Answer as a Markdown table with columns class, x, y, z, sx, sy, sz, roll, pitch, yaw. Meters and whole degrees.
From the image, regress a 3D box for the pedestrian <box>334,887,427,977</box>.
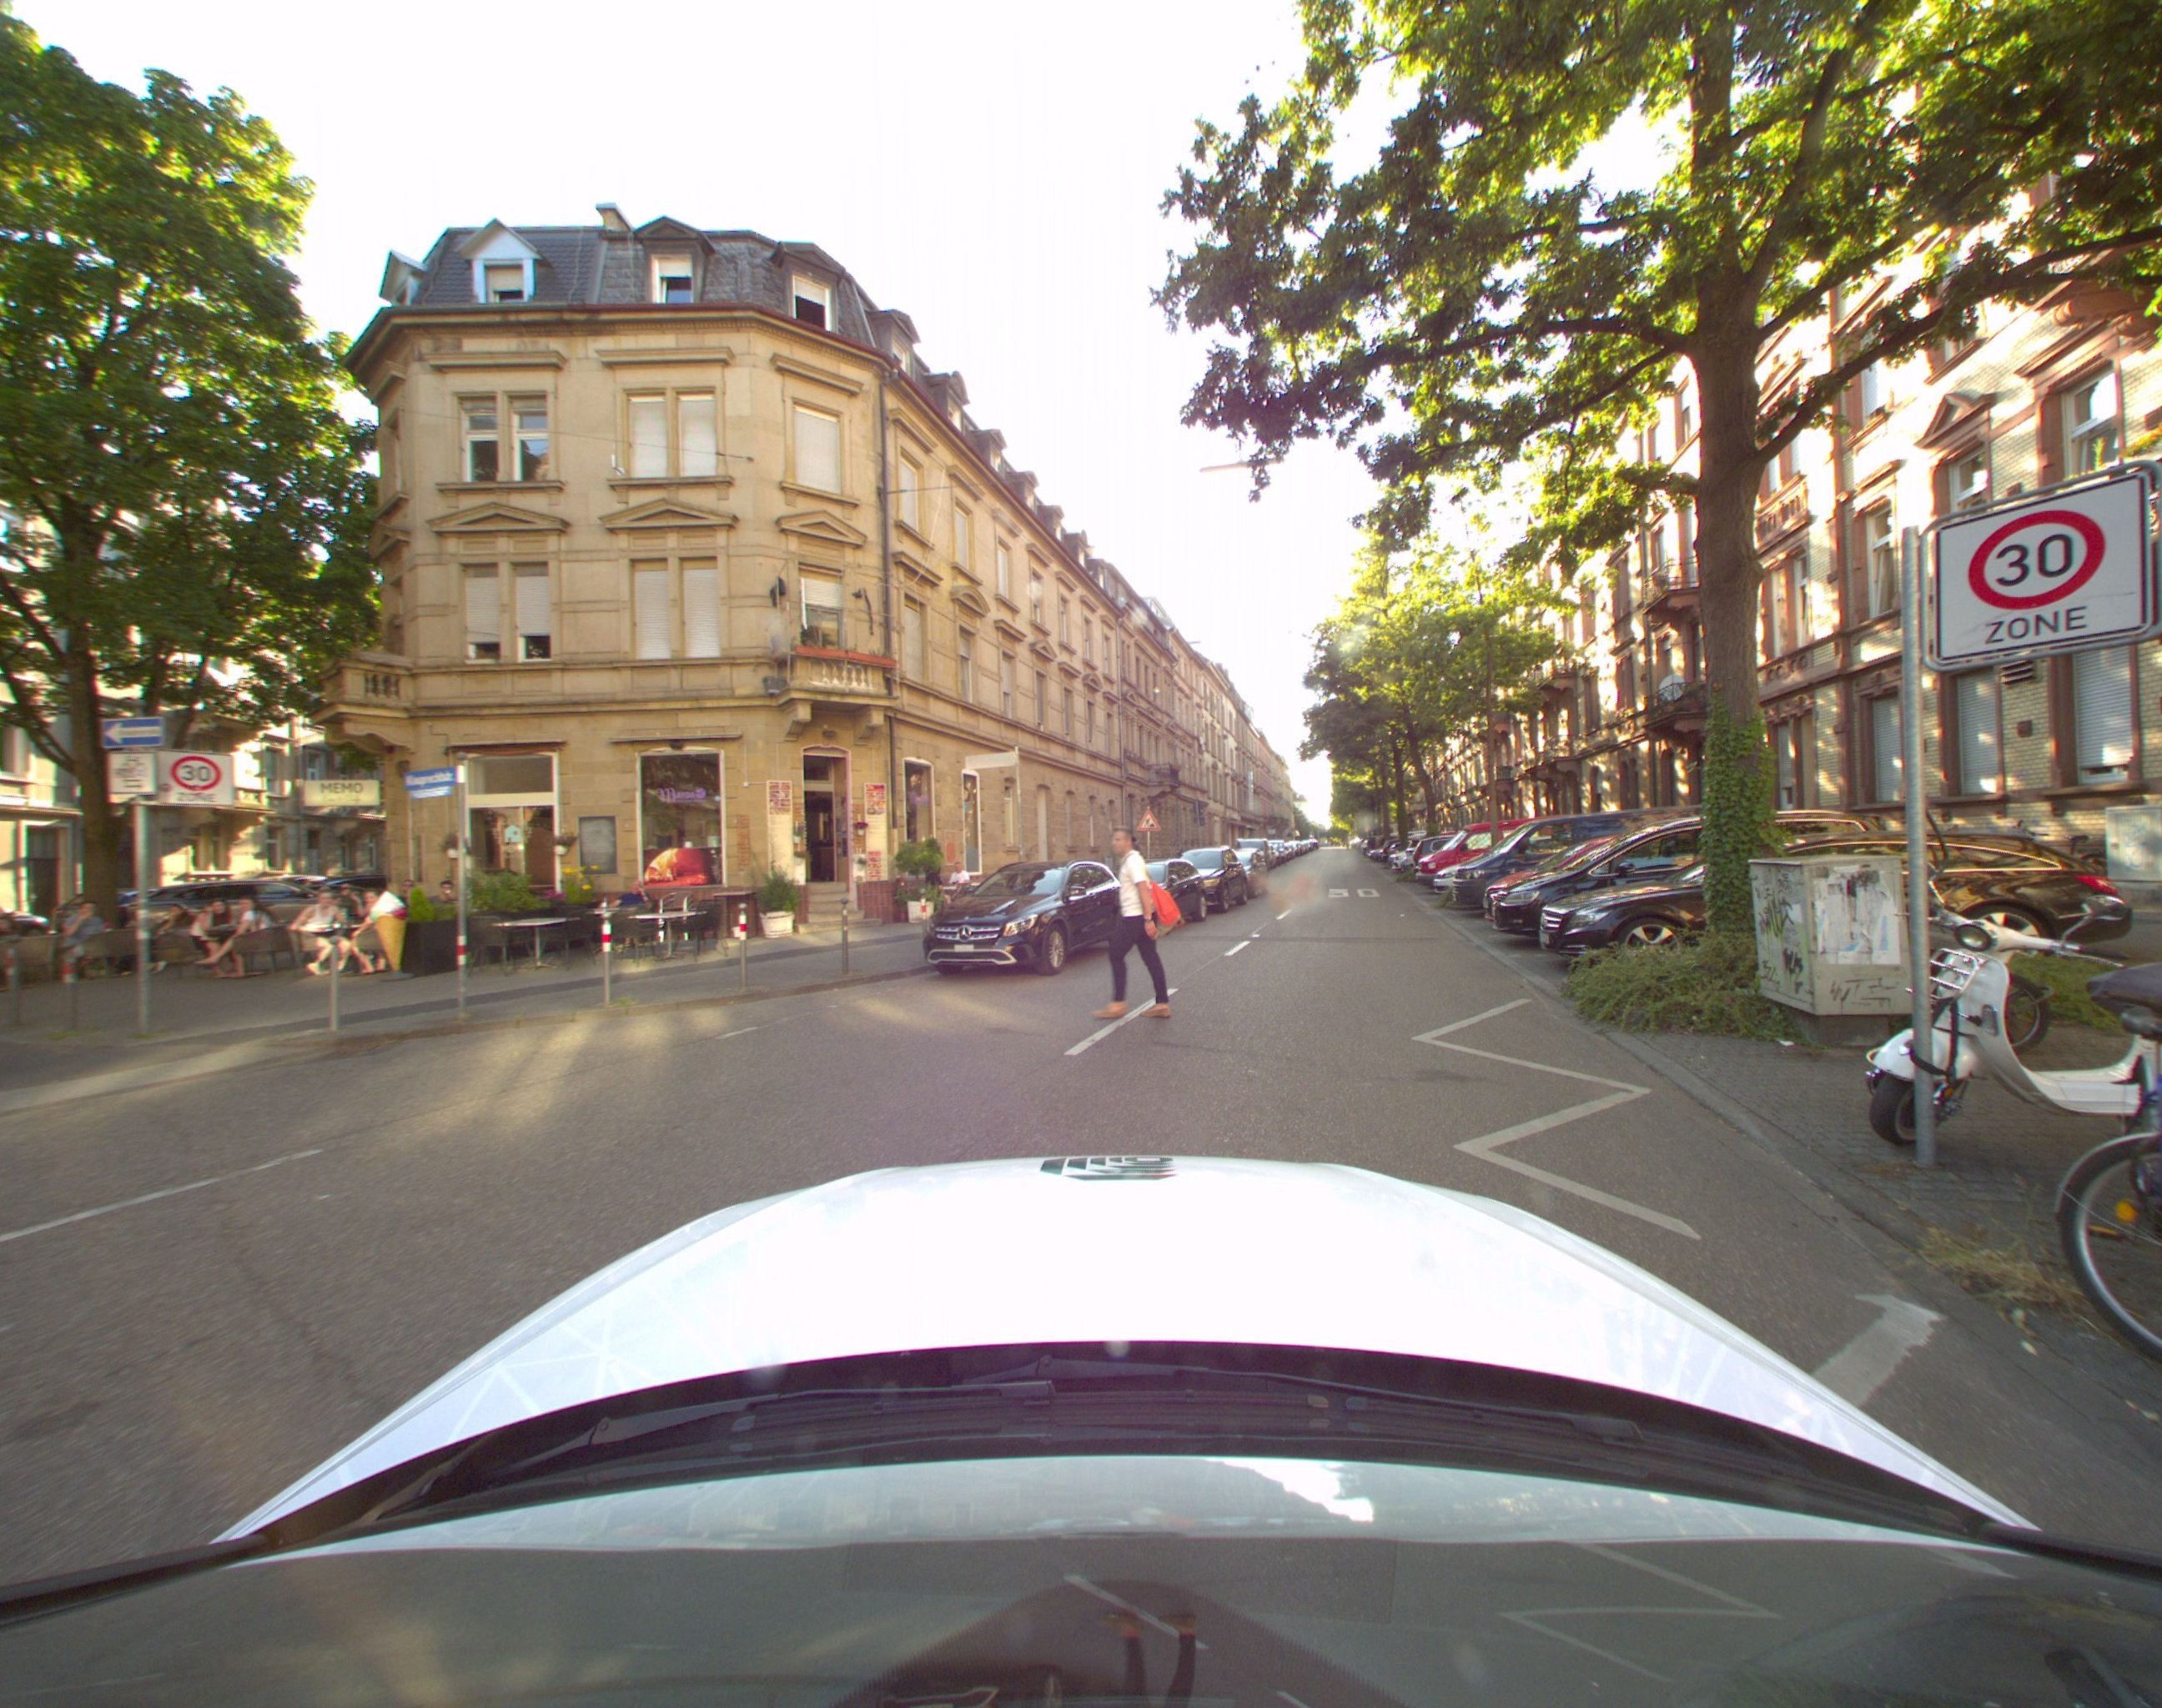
| class | x | y | z | sx | sy | sz | roll | pitch | yaw |
| --- | --- | --- | --- | --- | --- | --- | --- | --- | --- |
| pedestrian | -10.728 | 1.186 | 12.494 | 0.739 | 1.289 | 0.744 | -2 | 0 | 8 |

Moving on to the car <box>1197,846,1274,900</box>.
| class | x | y | z | sx | sy | sz | roll | pitch | yaw |
| --- | --- | --- | --- | --- | --- | --- | --- | --- | --- |
| car | 5.149 | 0.572 | 26.737 | 1.743 | 1.501 | 4.081 | -3 | 0 | 21 |

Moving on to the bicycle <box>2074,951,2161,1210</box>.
| class | x | y | z | sx | sy | sz | roll | pitch | yaw |
| --- | --- | --- | --- | --- | --- | --- | --- | --- | --- |
| bicycle | 4.948 | 0.790 | 2.866 | 1.915 | 0.927 | 0.356 | -5 | -2 | 17 |

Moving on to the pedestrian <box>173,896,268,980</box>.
| class | x | y | z | sx | sy | sz | roll | pitch | yaw |
| --- | --- | --- | --- | --- | --- | --- | --- | --- | --- |
| pedestrian | -13.670 | 1.320 | 12.945 | 0.699 | 1.248 | 0.752 | -2 | 0 | 15 |

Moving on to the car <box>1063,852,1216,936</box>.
| class | x | y | z | sx | sy | sz | roll | pitch | yaw |
| --- | --- | --- | --- | --- | --- | --- | --- | --- | --- |
| car | 1.393 | 0.756 | 17.135 | 1.743 | 1.451 | 4.575 | -3 | -1 | 23 |

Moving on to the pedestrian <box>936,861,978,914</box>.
| class | x | y | z | sx | sy | sz | roll | pitch | yaw |
| --- | --- | --- | --- | --- | --- | --- | --- | --- | --- |
| pedestrian | -2.989 | 0.801 | 19.704 | 0.720 | 1.214 | 0.760 | -2 | 0 | 15 |

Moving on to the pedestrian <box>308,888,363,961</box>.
| class | x | y | z | sx | sy | sz | roll | pitch | yaw |
| --- | --- | --- | --- | --- | --- | --- | --- | --- | --- |
| pedestrian | -13.430 | 1.266 | 14.684 | 0.477 | 1.248 | 0.512 | -2 | 0 | 15 |

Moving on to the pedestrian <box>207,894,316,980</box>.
| class | x | y | z | sx | sy | sz | roll | pitch | yaw |
| --- | --- | --- | --- | --- | --- | --- | --- | --- | --- |
| pedestrian | -12.796 | 1.280 | 12.729 | 1.014 | 1.248 | 0.752 | -2 | 0 | 15 |

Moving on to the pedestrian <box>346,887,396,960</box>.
| class | x | y | z | sx | sy | sz | roll | pitch | yaw |
| --- | --- | --- | --- | --- | --- | --- | --- | --- | --- |
| pedestrian | -12.631 | 1.233 | 14.485 | 0.477 | 1.248 | 0.435 | -2 | 0 | 15 |

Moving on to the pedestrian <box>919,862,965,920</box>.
| class | x | y | z | sx | sy | sz | roll | pitch | yaw |
| --- | --- | --- | --- | --- | --- | --- | --- | --- | --- |
| pedestrian | -3.157 | 0.838 | 18.543 | 0.720 | 1.259 | 0.760 | -2 | 0 | 15 |

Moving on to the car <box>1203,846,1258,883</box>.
| class | x | y | z | sx | sy | sz | roll | pitch | yaw |
| --- | --- | --- | --- | --- | --- | --- | --- | --- | --- |
| car | 6.938 | 0.463 | 37.558 | 1.744 | 1.501 | 4.080 | -3 | 0 | 20 |

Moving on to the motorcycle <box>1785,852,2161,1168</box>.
| class | x | y | z | sx | sy | sz | roll | pitch | yaw |
| --- | --- | --- | --- | --- | --- | --- | --- | --- | --- |
| motorcycle | 4.498 | 0.649 | 3.618 | 1.882 | 1.234 | 0.689 | -5 | -1 | 18 |

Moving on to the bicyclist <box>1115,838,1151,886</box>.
| class | x | y | z | sx | sy | sz | roll | pitch | yaw |
| --- | --- | --- | --- | --- | --- | --- | --- | --- | --- |
| bicyclist | 2.021 | 0.306 | 31.665 | 0.987 | 1.789 | 1.214 | -3 | 0 | 20 |

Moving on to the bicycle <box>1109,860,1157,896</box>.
| class | x | y | z | sx | sy | sz | roll | pitch | yaw |
| --- | --- | --- | --- | --- | --- | --- | --- | --- | --- |
| bicycle | 2.049 | 0.910 | 31.658 | 0.987 | 1.158 | 2.938 | -3 | 1 | 21 |

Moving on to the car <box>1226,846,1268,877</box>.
| class | x | y | z | sx | sy | sz | roll | pitch | yaw |
| --- | --- | --- | --- | --- | --- | --- | --- | --- | --- |
| car | 8.586 | 0.368 | 41.851 | 1.579 | 1.475 | 3.718 | 0 | 1 | 19 |

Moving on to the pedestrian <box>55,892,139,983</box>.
| class | x | y | z | sx | sy | sz | roll | pitch | yaw |
| --- | --- | --- | --- | --- | --- | --- | --- | --- | --- |
| pedestrian | -16.834 | 1.410 | 13.936 | 0.659 | 1.441 | 0.772 | -4 | 0 | 30 |

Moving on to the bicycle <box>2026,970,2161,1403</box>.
| class | x | y | z | sx | sy | sz | roll | pitch | yaw |
| --- | --- | --- | --- | --- | --- | --- | --- | --- | --- |
| bicycle | 3.341 | 0.934 | 2.571 | 1.421 | 0.927 | 0.350 | -3 | -2 | -43 |

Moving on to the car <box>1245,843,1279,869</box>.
| class | x | y | z | sx | sy | sz | roll | pitch | yaw |
| --- | --- | --- | --- | --- | --- | --- | --- | --- | --- |
| car | 11.780 | 0.080 | 52.954 | 1.739 | 1.608 | 4.404 | -1 | 1 | 18 |

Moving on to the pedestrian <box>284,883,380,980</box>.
| class | x | y | z | sx | sy | sz | roll | pitch | yaw |
| --- | --- | --- | --- | --- | --- | --- | --- | --- | --- |
| pedestrian | -11.554 | 1.178 | 12.582 | 0.750 | 1.411 | 0.729 | -2 | 0 | 6 |

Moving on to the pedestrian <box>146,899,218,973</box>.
| class | x | y | z | sx | sy | sz | roll | pitch | yaw |
| --- | --- | --- | --- | --- | --- | --- | --- | --- | --- |
| pedestrian | -15.934 | 1.439 | 14.440 | 0.659 | 1.215 | 0.682 | -4 | 0 | 28 |

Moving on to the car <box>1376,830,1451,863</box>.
| class | x | y | z | sx | sy | sz | roll | pitch | yaw |
| --- | --- | --- | --- | --- | --- | --- | --- | --- | --- |
| car | 21.377 | -0.497 | 52.507 | 4.188 | 1.776 | 1.843 | -4 | 0 | 16 |

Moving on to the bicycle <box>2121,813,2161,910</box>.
| class | x | y | z | sx | sy | sz | roll | pitch | yaw |
| --- | --- | --- | --- | --- | --- | --- | --- | --- | --- |
| bicycle | 13.209 | 0.089 | 9.072 | 0.665 | 1.171 | 2.606 | -5 | -1 | 20 |

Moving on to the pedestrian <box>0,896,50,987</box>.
| class | x | y | z | sx | sy | sz | roll | pitch | yaw |
| --- | --- | --- | --- | --- | --- | --- | --- | --- | --- |
| pedestrian | -17.420 | 1.428 | 13.191 | 0.659 | 1.412 | 0.772 | -4 | 0 | 32 |

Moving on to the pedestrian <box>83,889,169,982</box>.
| class | x | y | z | sx | sy | sz | roll | pitch | yaw |
| --- | --- | --- | --- | --- | --- | --- | --- | --- | --- |
| pedestrian | -15.886 | 1.341 | 13.560 | 0.659 | 1.441 | 0.772 | -4 | 0 | 30 |

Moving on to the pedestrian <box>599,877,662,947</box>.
| class | x | y | z | sx | sy | sz | roll | pitch | yaw |
| --- | --- | --- | --- | --- | --- | --- | --- | --- | --- |
| pedestrian | -8.407 | 1.068 | 15.217 | 0.723 | 1.214 | 0.756 | -2 | 0 | -2 |

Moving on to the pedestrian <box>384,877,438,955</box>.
| class | x | y | z | sx | sy | sz | roll | pitch | yaw |
| --- | --- | --- | --- | --- | --- | --- | --- | --- | --- |
| pedestrian | -12.741 | 1.164 | 15.494 | 0.565 | 1.431 | 0.483 | -2 | 0 | 7 |

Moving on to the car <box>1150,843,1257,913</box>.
| class | x | y | z | sx | sy | sz | roll | pitch | yaw |
| --- | --- | --- | --- | --- | --- | --- | --- | --- | --- |
| car | 3.408 | 0.569 | 21.883 | 1.743 | 1.600 | 4.575 | -3 | 0 | 22 |

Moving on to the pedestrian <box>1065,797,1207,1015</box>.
| class | x | y | z | sx | sy | sz | roll | pitch | yaw |
| --- | --- | --- | --- | --- | --- | --- | --- | --- | --- |
| pedestrian | 0.539 | 0.468 | 7.624 | 1.106 | 1.898 | 0.846 | -2 | 0 | 15 |

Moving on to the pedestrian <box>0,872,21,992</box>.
| class | x | y | z | sx | sy | sz | roll | pitch | yaw |
| --- | --- | --- | --- | --- | --- | --- | --- | --- | --- |
| pedestrian | -16.461 | 1.189 | 12.085 | 0.565 | 1.770 | 0.772 | -4 | 0 | 30 |

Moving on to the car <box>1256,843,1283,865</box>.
| class | x | y | z | sx | sy | sz | roll | pitch | yaw |
| --- | --- | --- | --- | --- | --- | --- | --- | --- | --- |
| car | 13.763 | -0.019 | 59.339 | 1.745 | 1.467 | 4.017 | 0 | 1 | 16 |

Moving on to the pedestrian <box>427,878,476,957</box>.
| class | x | y | z | sx | sy | sz | roll | pitch | yaw |
| --- | --- | --- | --- | --- | --- | --- | --- | --- | --- |
| pedestrian | -11.292 | 1.127 | 14.617 | 0.477 | 1.367 | 0.435 | -2 | 0 | 9 |

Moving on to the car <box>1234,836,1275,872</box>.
| class | x | y | z | sx | sy | sz | roll | pitch | yaw |
| --- | --- | --- | --- | --- | --- | --- | --- | --- | --- |
| car | 10.125 | -0.031 | 47.355 | 1.817 | 1.943 | 5.284 | -1 | 1 | 18 |

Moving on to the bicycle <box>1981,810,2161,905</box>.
| class | x | y | z | sx | sy | sz | roll | pitch | yaw |
| --- | --- | --- | --- | --- | --- | --- | --- | --- | --- |
| bicycle | 14.089 | 0.028 | 11.491 | 0.665 | 1.171 | 2.606 | -5 | -1 | 20 |
